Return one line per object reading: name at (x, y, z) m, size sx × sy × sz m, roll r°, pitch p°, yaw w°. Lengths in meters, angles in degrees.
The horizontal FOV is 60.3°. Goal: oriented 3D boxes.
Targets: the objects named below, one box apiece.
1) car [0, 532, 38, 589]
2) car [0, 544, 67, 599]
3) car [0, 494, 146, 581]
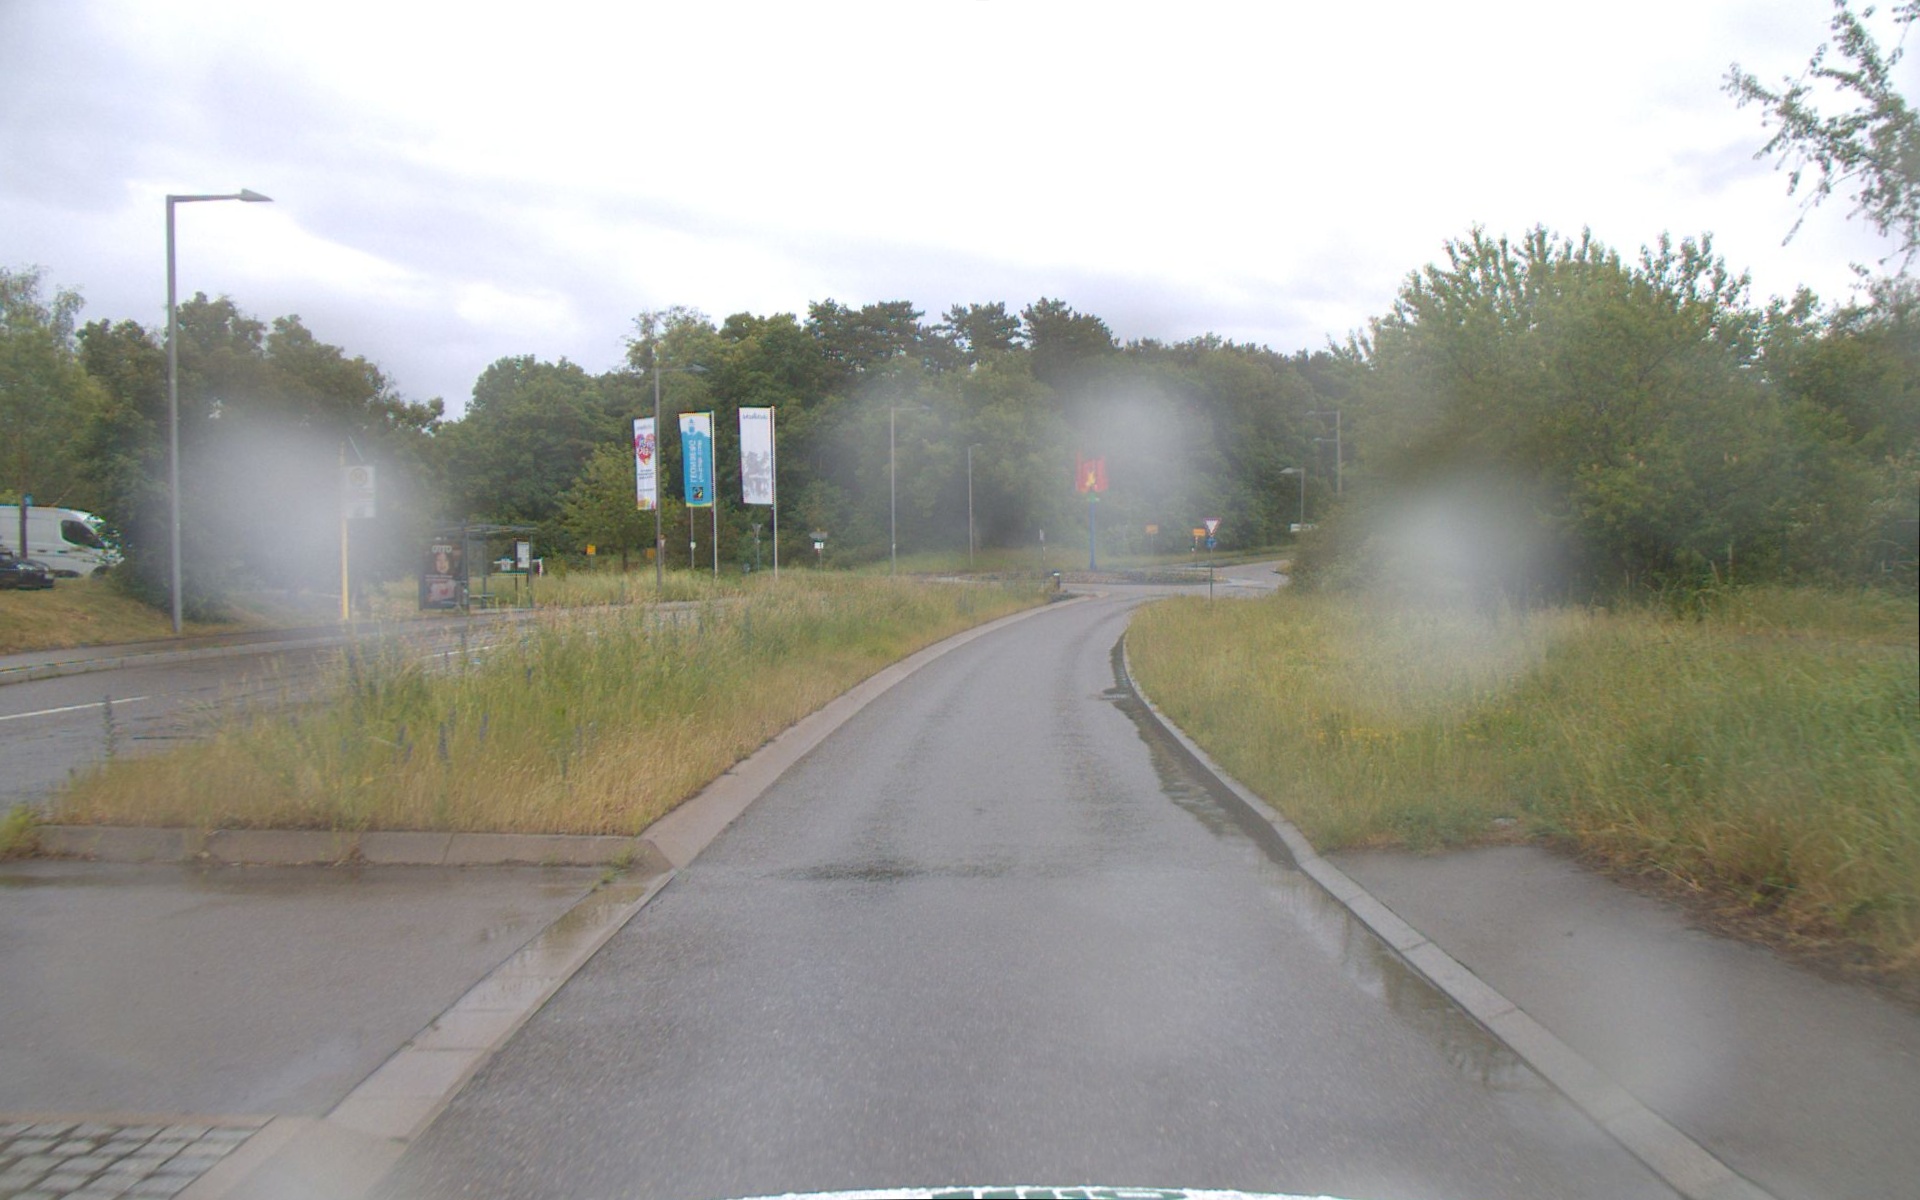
car at (-25.411, -0.949, 41.127) m, size 3.905 × 1.388 × 1.848 m, roll -1°, pitch 1°, yaw 0°
car at (-25.865, -0.797, 43.407) m, size 3.905 × 1.388 × 1.653 m, roll 2°, pitch 1°, yaw 0°
car at (-27.804, -1.825, 48.741) m, size 6.429 × 2.439 × 2.136 m, roll 1°, pitch -1°, yaw -6°
